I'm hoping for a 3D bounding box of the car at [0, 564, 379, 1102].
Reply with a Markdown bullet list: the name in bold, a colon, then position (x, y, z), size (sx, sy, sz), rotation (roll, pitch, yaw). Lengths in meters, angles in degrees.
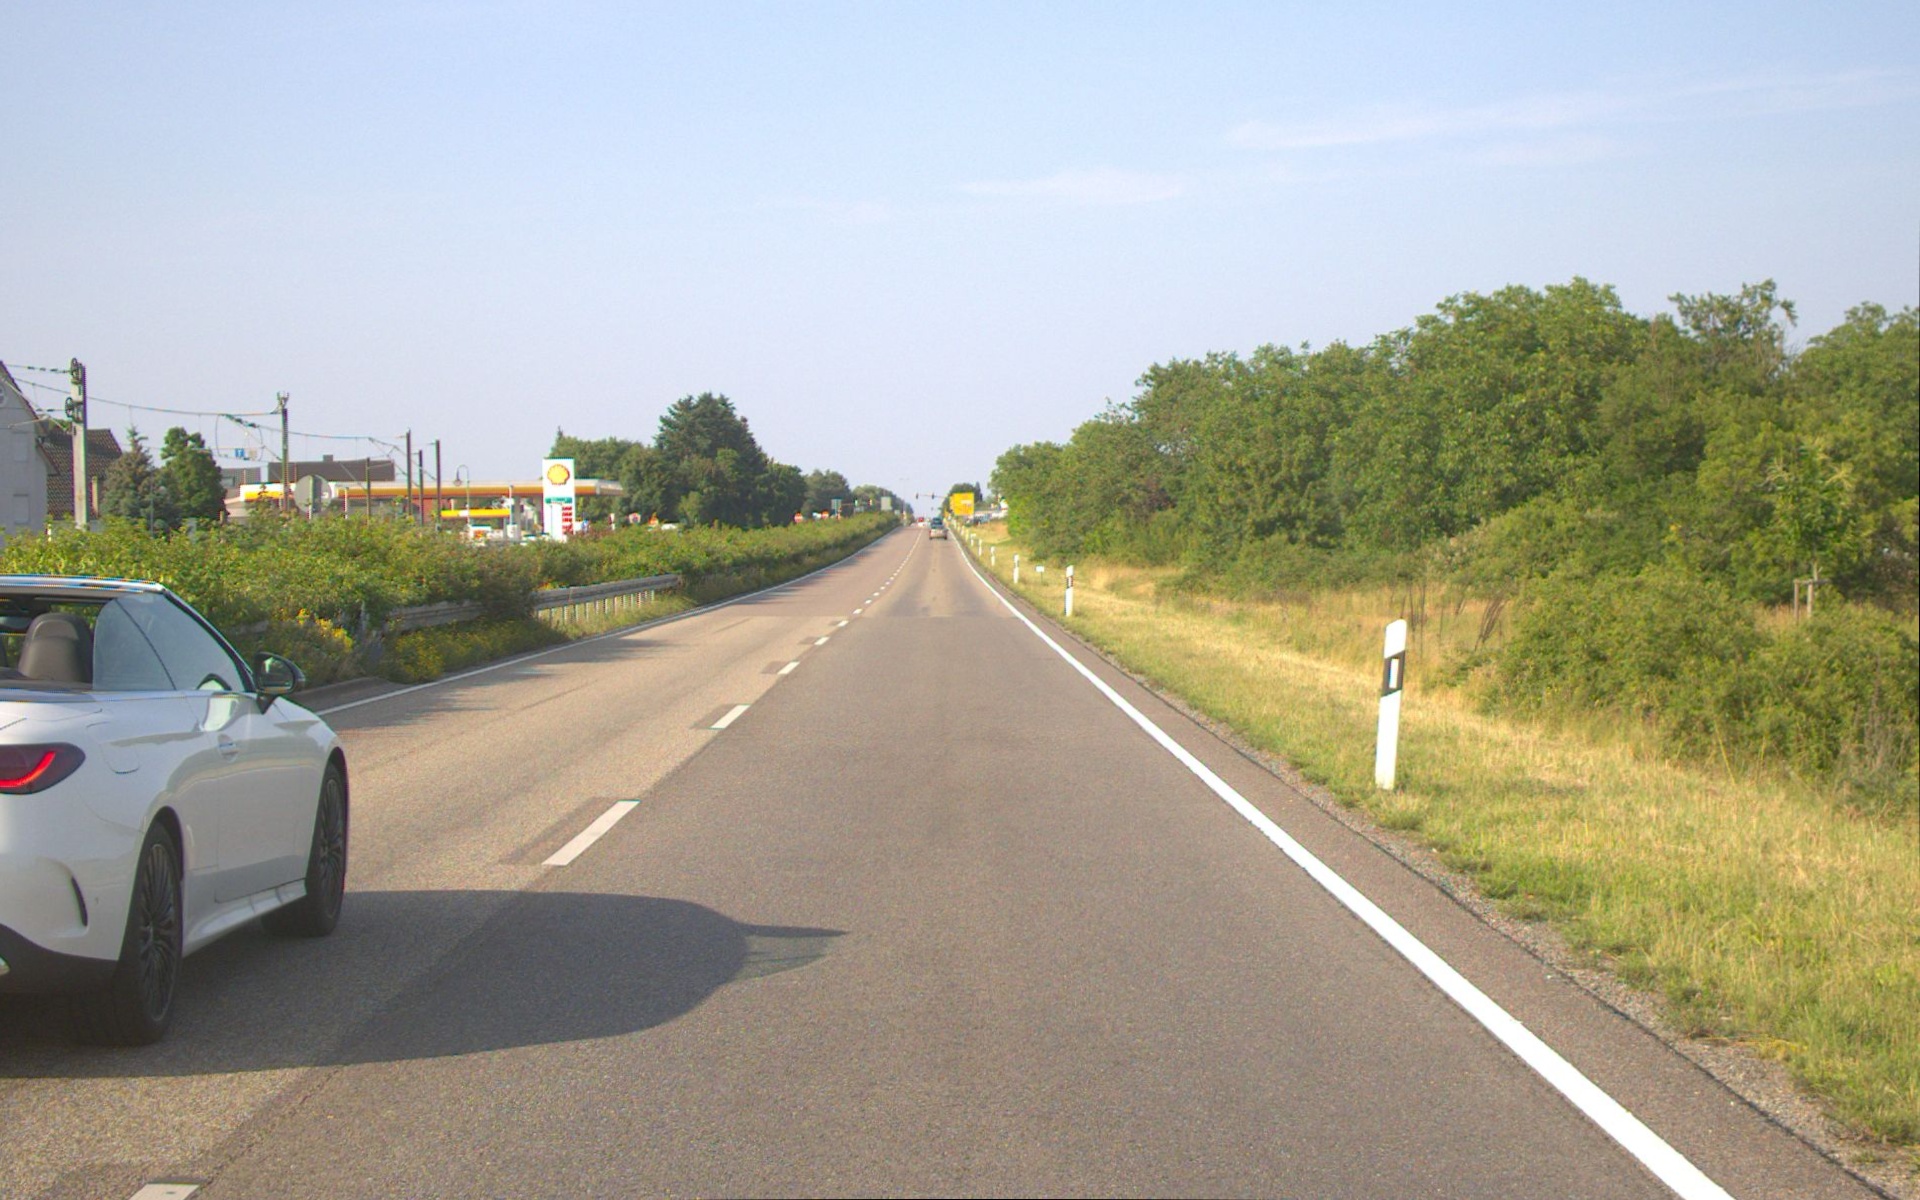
- **car**: position (-3.233, 0.578, 11.399), size (1.771, 1.333, 4.950), rotation (1, 1, 0)
